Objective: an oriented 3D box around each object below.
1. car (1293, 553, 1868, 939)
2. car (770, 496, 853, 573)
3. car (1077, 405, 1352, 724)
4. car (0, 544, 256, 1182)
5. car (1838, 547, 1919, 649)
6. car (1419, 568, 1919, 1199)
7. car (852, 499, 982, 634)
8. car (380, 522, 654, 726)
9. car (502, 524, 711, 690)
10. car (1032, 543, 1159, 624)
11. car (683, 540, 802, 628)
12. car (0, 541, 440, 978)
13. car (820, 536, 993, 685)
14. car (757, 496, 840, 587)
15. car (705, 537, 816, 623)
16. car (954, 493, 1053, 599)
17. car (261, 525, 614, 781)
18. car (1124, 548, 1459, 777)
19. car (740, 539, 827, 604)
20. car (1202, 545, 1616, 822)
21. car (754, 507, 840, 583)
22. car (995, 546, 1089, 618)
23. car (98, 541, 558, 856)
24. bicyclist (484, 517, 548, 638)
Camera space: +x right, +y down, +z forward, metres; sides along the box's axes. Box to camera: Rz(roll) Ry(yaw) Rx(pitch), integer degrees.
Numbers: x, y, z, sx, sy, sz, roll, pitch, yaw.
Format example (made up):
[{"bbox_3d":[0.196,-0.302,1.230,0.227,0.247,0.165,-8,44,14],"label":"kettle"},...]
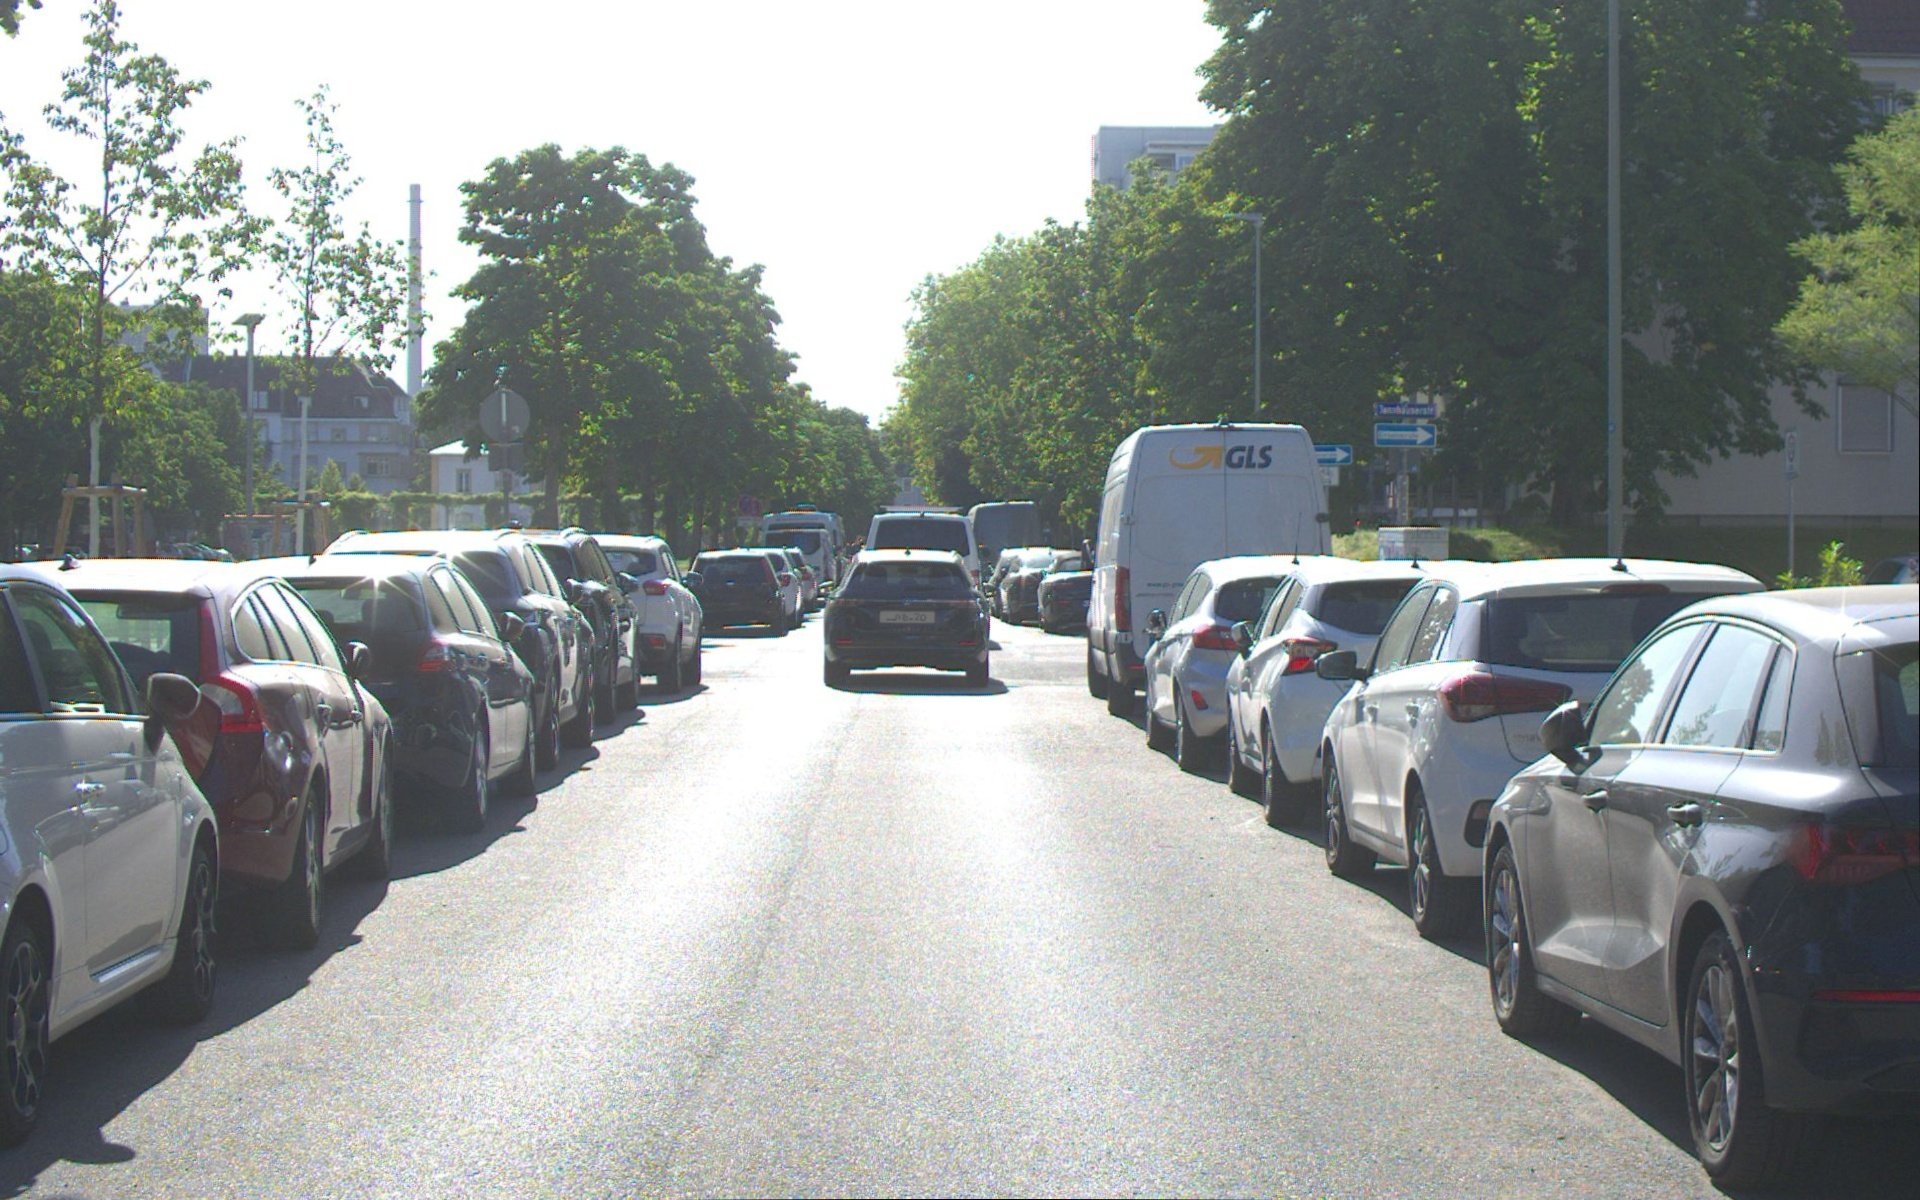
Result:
[{"bbox_3d":[2.547,0.524,15.061,1.721,1.430,4.153,0,1,-1],"label":"car"},{"bbox_3d":[-5.214,-2.308,121.693,2.616,2.636,6.114,0,1,0],"label":"car"},{"bbox_3d":[2.311,-0.373,33.081,2.142,2.703,6.841,-1,1,0],"label":"car"},{"bbox_3d":[-3.135,0.606,9.838,1.586,1.487,3.686,-1,1,-2],"label":"car"},{"bbox_3d":[14.755,-0.034,49.240,3.886,1.424,1.659,0,1,-4],"label":"car"},{"bbox_3d":[2.535,0.664,9.630,1.699,1.430,4.472,-1,1,-2],"label":"car"},{"bbox_3d":[-0.634,-0.541,53.540,1.894,1.984,4.010,-1,1,0],"label":"car"},{"bbox_3d":[-3.846,0.155,30.562,1.842,1.633,4.715,-1,1,-1],"label":"car"},{"bbox_3d":[-3.739,0.032,36.993,1.756,1.641,4.287,-1,1,0],"label":"car"},{"bbox_3d":[2.440,-0.326,62.905,2.125,1.333,4.506,-2,1,0],"label":"car"},{"bbox_3d":[-3.710,-0.277,59.137,1.748,1.420,3.916,-2,0,0],"label":"car"},{"bbox_3d":[-3.318,0.525,14.280,1.755,1.487,4.669,-1,1,-2],"label":"car"},{"bbox_3d":[-0.551,0.073,38.061,1.779,1.526,4.000,1,1,0],"label":"car"},{"bbox_3d":[-4.490,-1.644,96.246,2.098,2.488,4.127,0,1,0],"label":"car"},{"bbox_3d":[-3.665,-0.370,63.658,1.777,1.490,3.875,-2,0,0],"label":"car"},{"bbox_3d":[1.105,-1.427,90.386,2.162,2.680,5.417,0,1,-4],"label":"car"},{"bbox_3d":[-3.597,0.294,24.477,1.819,1.604,4.739,-1,1,-1],"label":"car"},{"bbox_3d":[2.322,0.390,25.122,1.849,1.461,4.202,1,1,-2],"label":"car"},{"bbox_3d":[-4.153,-0.690,81.382,1.833,1.495,4.127,0,1,0],"label":"car"},{"bbox_3d":[2.544,0.413,20.437,1.878,1.470,4.140,0,1,-1],"label":"car"},{"bbox_3d":[-4.230,-1.439,89.838,2.098,1.936,4.127,0,1,-1],"label":"car"},{"bbox_3d":[1.611,-0.383,68.856,1.779,1.366,4.127,0,1,0],"label":"car"},{"bbox_3d":[-3.425,0.452,19.449,1.873,1.514,4.471,-2,1,-2],"label":"car"},{"bbox_3d":[-5.893,-0.299,45.622,0.788,1.591,0.696,0,1,-4],"label":"bicyclist"}]
